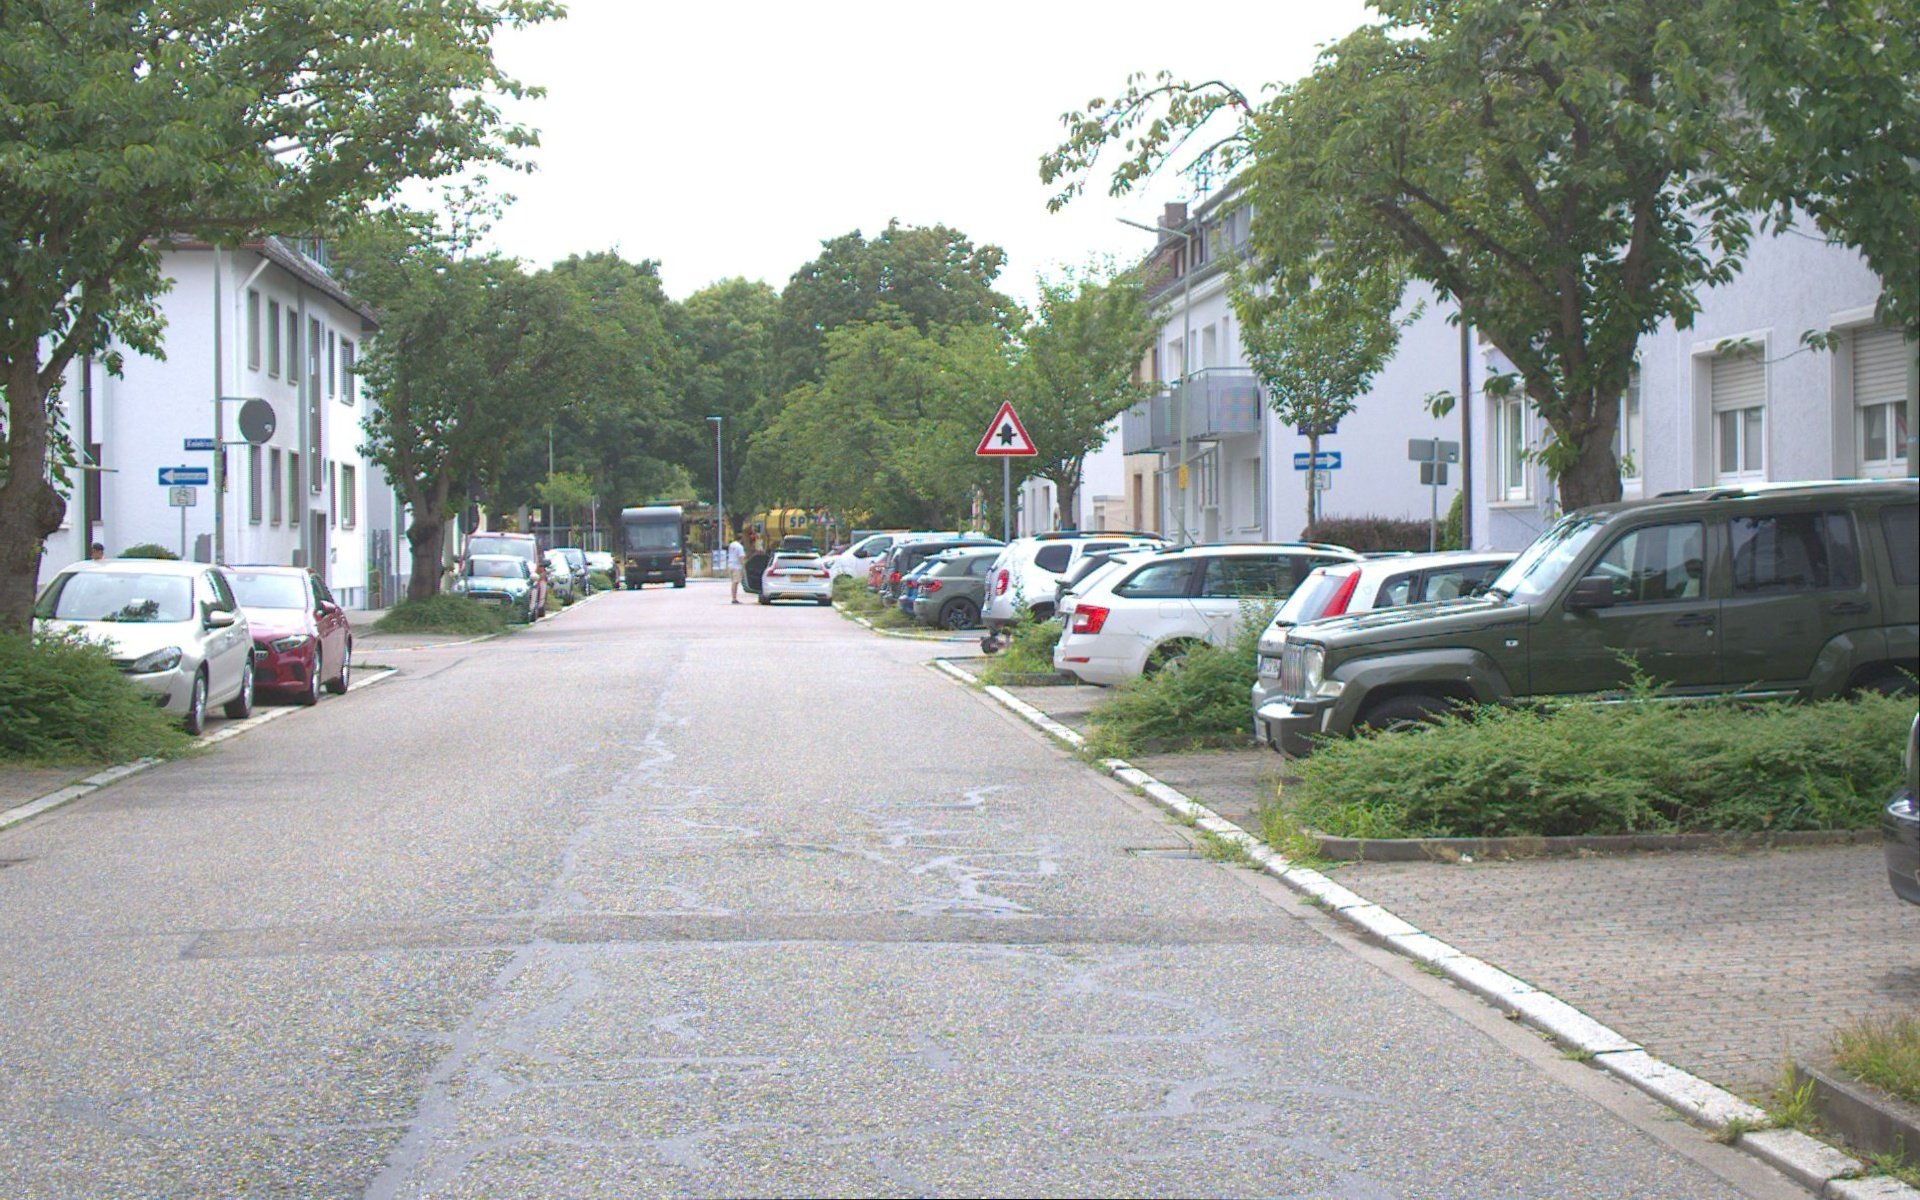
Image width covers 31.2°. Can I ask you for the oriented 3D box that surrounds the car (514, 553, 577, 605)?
[{"bbox_3d":[-11.731,-0.614,97.505,1.651,1.372,3.722,-3,1,-6],"label":"car"}]

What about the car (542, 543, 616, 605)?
[{"bbox_3d":[-9.610,-0.664,86.901,1.651,1.456,3.553,-3,1,-4],"label":"car"}]

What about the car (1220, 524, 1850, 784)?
[{"bbox_3d":[3.678,0.318,22.335,3.624,1.449,1.773,-3,1,-7],"label":"car"}]

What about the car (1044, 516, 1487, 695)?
[{"bbox_3d":[2.899,0.036,33.158,3.986,1.503,1.713,-3,1,-3],"label":"car"}]

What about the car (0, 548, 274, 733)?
[{"bbox_3d":[-7.404,0.310,30.730,1.771,1.387,4.275,5,0,-3],"label":"car"}]

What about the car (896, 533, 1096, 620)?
[{"bbox_3d":[0.633,-0.439,63.050,3.517,1.407,1.559,-3,1,-3],"label":"car"}]

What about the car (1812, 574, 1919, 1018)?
[{"bbox_3d":[4.910,0.579,11.522,3.542,1.448,1.809,-3,1,-4],"label":"car"}]

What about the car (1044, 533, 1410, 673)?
[{"bbox_3d":[3.059,0.024,39.949,3.986,1.417,1.713,-3,1,-3],"label":"car"}]

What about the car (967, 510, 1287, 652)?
[{"bbox_3d":[2.129,-0.260,44.602,3.923,1.627,1.868,-3,1,-2],"label":"car"}]

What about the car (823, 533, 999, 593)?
[{"bbox_3d":[-1.451,-1.089,100.508,4.974,1.513,1.769,-3,1,-5],"label":"car"}]

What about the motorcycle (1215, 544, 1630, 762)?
[{"bbox_3d":[3.234,0.355,24.188,2.700,1.459,1.032,-1,1,-7],"label":"motorcycle"}]

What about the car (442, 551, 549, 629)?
[{"bbox_3d":[-9.995,-0.241,74.225,1.763,1.549,3.731,-3,1,0],"label":"car"}]

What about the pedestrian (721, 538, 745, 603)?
[{"bbox_3d":[-6.023,-0.773,91.123,0.522,1.698,0.444,-3,1,0],"label":"pedestrian"}]

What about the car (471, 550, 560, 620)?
[{"bbox_3d":[-10.526,-0.374,81.515,1.763,1.549,3.731,-3,1,-3],"label":"car"}]

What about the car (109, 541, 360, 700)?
[{"bbox_3d":[-7.511,0.173,36.009,1.877,1.481,4.513,-3,1,-4],"label":"car"}]

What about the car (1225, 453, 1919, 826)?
[{"bbox_3d":[3.881,0.179,19.477,4.525,1.851,1.793,-3,1,-1],"label":"car"}]

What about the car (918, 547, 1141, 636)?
[{"bbox_3d":[1.186,-0.155,60.187,3.747,1.361,1.773,-3,1,-2],"label":"car"}]

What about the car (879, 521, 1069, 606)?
[{"bbox_3d":[0.270,-0.750,70.592,3.747,1.559,1.773,-3,1,-2],"label":"car"}]

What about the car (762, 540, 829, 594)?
[{"bbox_3d":[-4.386,-0.889,91.982,1.687,1.349,3.827,-3,1,-2],"label":"car"}]

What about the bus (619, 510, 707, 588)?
[{"bbox_3d":[-11.246,-1.936,130.777,3.003,2.752,8.925,-3,1,-3],"label":"bus"}]

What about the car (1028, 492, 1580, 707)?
[{"bbox_3d":[3.002,-0.019,30.710,4.614,1.658,1.893,-3,1,-2],"label":"car"}]

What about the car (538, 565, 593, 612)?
[{"bbox_3d":[-11.760,-0.349,102.577,1.538,1.297,3.722,-3,1,-6],"label":"car"}]
